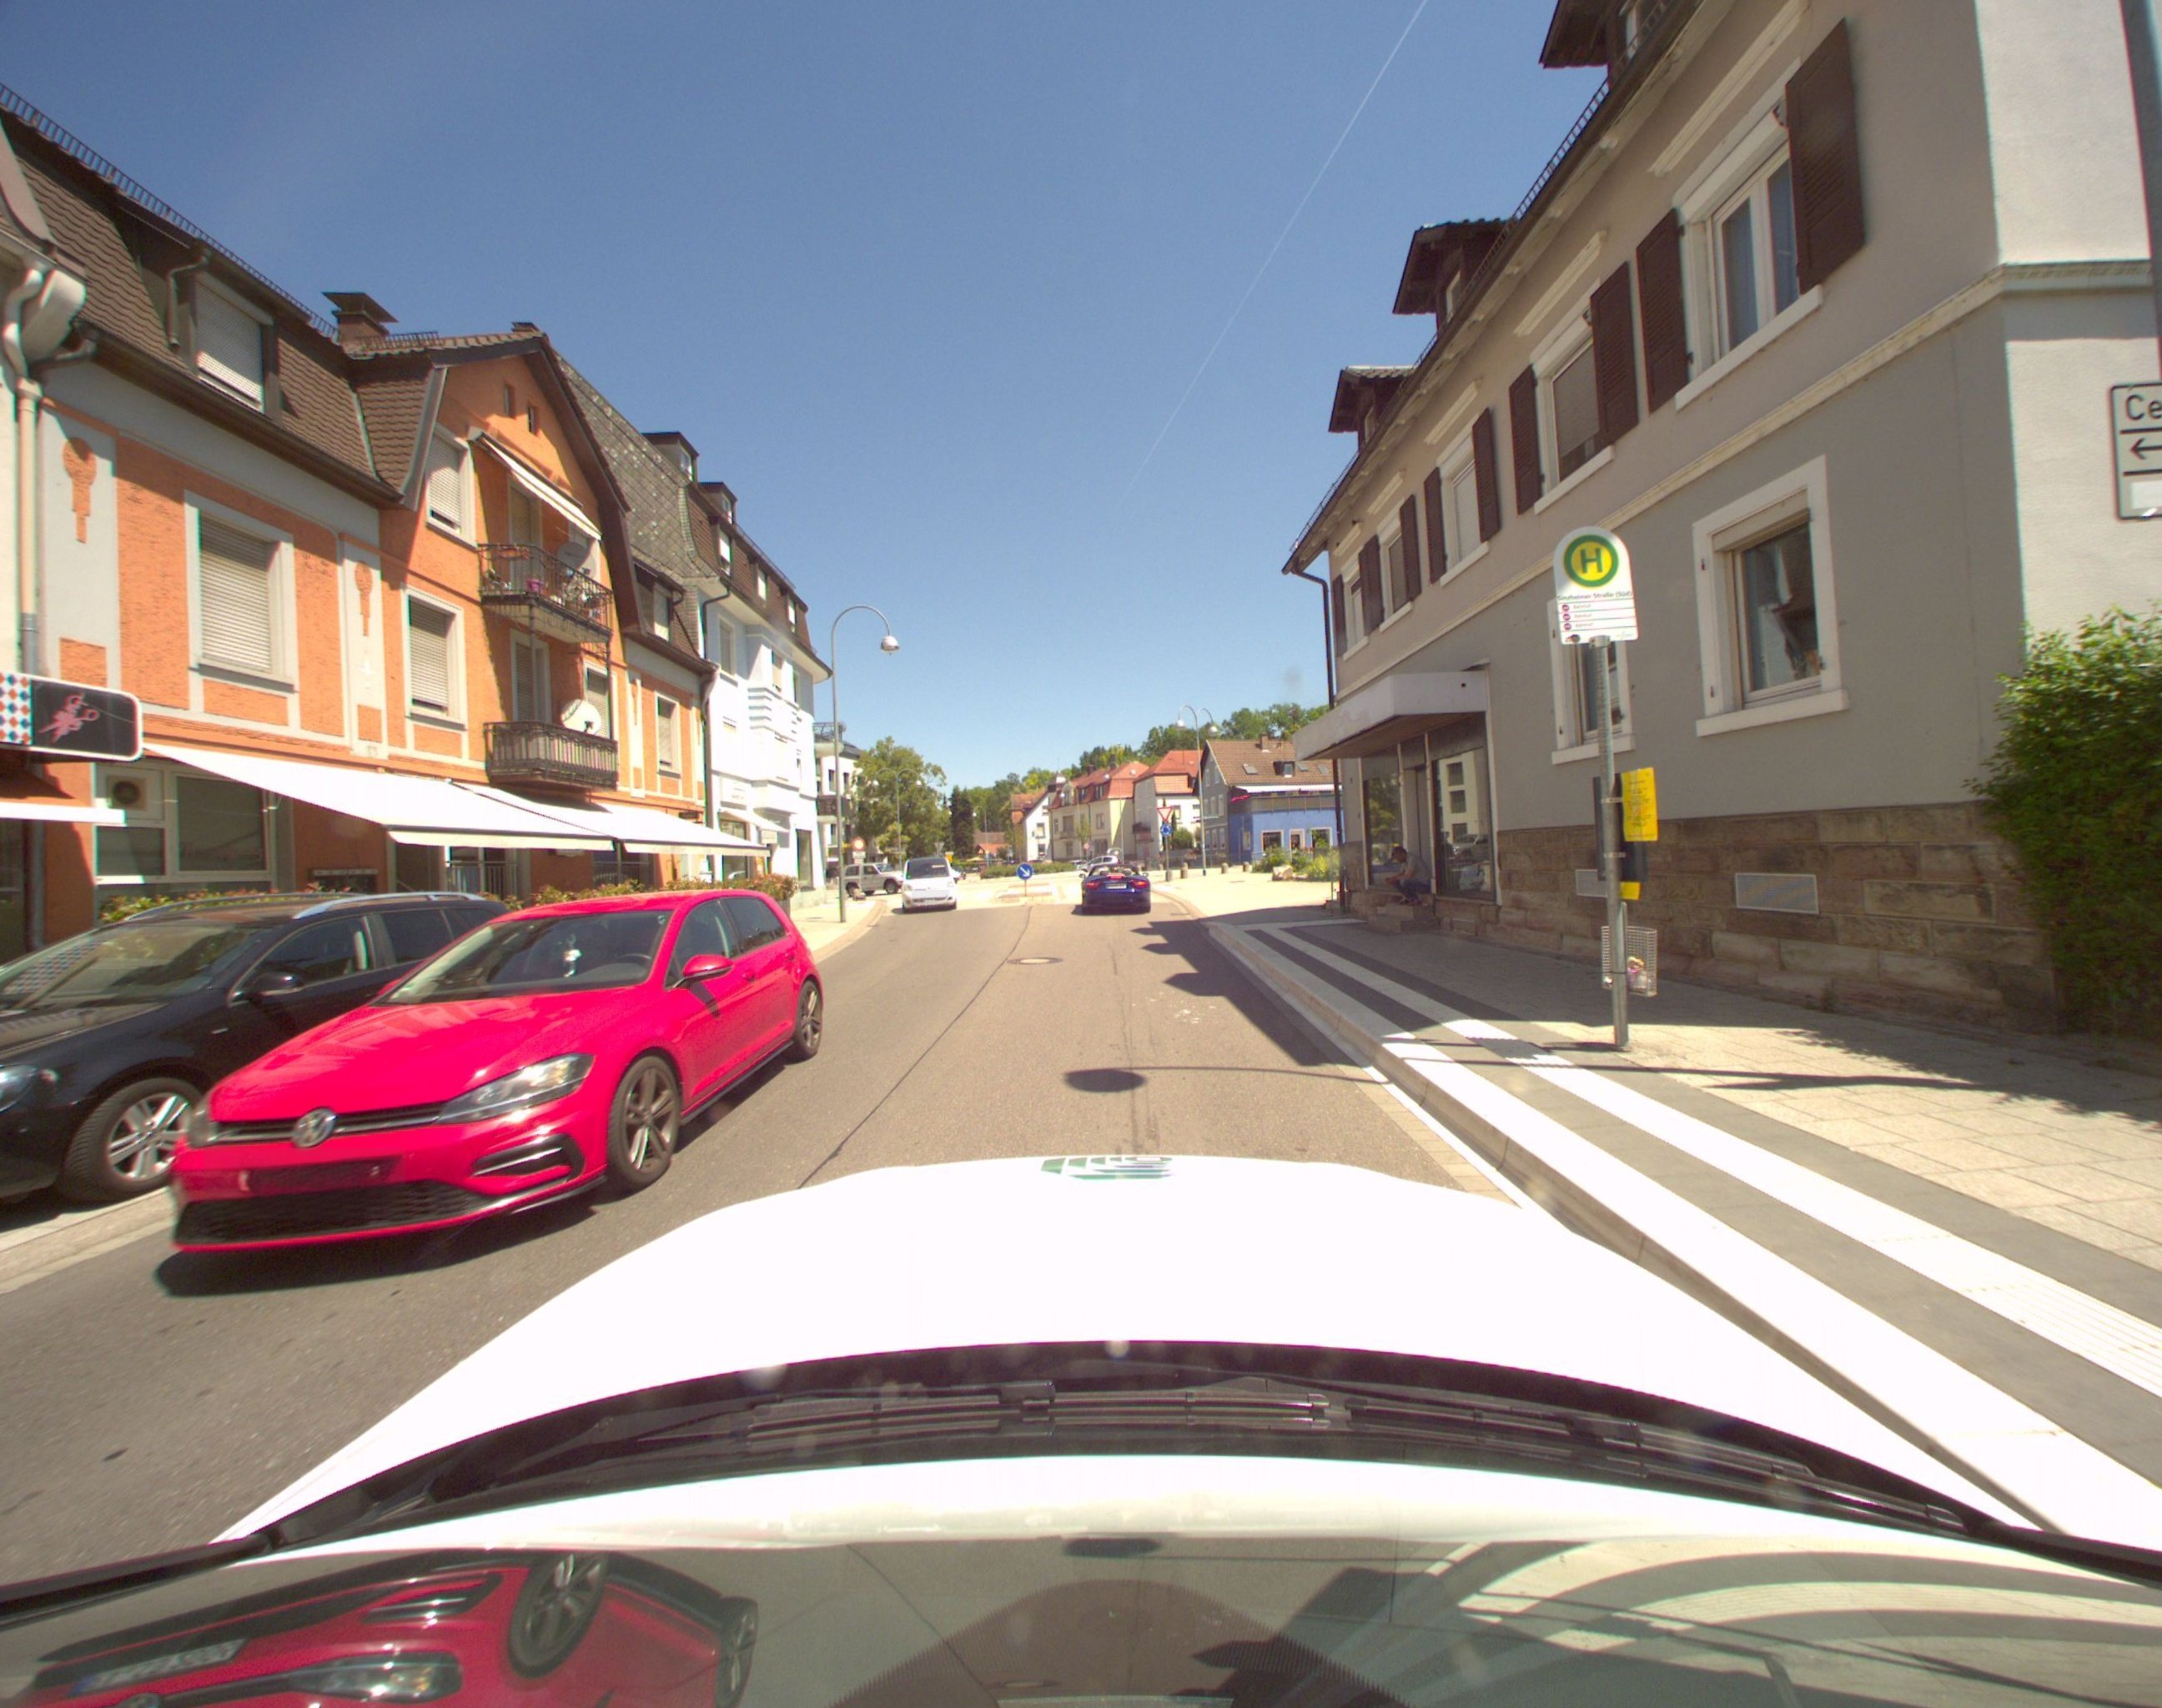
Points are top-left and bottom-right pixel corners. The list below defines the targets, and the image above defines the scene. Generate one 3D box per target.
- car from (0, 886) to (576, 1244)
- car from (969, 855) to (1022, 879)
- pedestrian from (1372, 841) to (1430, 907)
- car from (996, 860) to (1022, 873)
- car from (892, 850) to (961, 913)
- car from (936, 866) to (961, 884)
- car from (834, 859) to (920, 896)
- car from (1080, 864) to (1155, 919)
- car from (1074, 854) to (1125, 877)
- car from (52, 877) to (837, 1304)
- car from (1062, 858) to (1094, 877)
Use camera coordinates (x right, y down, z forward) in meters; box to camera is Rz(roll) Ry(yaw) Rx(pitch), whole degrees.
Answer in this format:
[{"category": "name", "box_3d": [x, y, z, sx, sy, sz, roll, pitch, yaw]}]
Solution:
[{"category": "car", "box_3d": [-5.828, 1.038, 5.660, 1.909, 1.481, 4.336, 0, 0, 0]}, {"category": "car", "box_3d": [-5.444, 0.848, 51.418, 2.004, 1.329, 4.164, -4, -1, -26]}, {"category": "pedestrian", "box_3d": [5.148, 0.312, 13.125, 0.588, 0.999, 0.723, -4, 0, -1]}, {"category": "car", "box_3d": [-9.571, 1.674, 107.502, 1.862, 1.588, 3.961, -4, 0, -30]}, {"category": "car", "box_3d": [-5.166, 0.899, 27.734, 1.993, 1.822, 4.402, -4, 0, -9]}, {"category": "car", "box_3d": [-11.944, 1.895, 73.612, 1.992, 1.509, 3.990, -3, -1, -7]}, {"category": "car", "box_3d": [-11.278, 1.277, 45.110, 4.183, 1.875, 1.771, -2, 1, 17]}, {"category": "car", "box_3d": [1.038, 1.014, 23.467, 1.903, 1.360, 4.287, -2, 0, 2]}, {"category": "car", "box_3d": [1.410, 0.833, 60.899, 3.433, 1.450, 1.587, -4, -1, 15]}, {"category": "car", "box_3d": [-3.091, 0.976, 5.212, 1.911, 1.426, 3.976, -5, 0, -3]}, {"category": "car", "box_3d": [-0.339, 1.348, 80.296, 1.924, 1.613, 4.120, -3, -2, -19]}]
